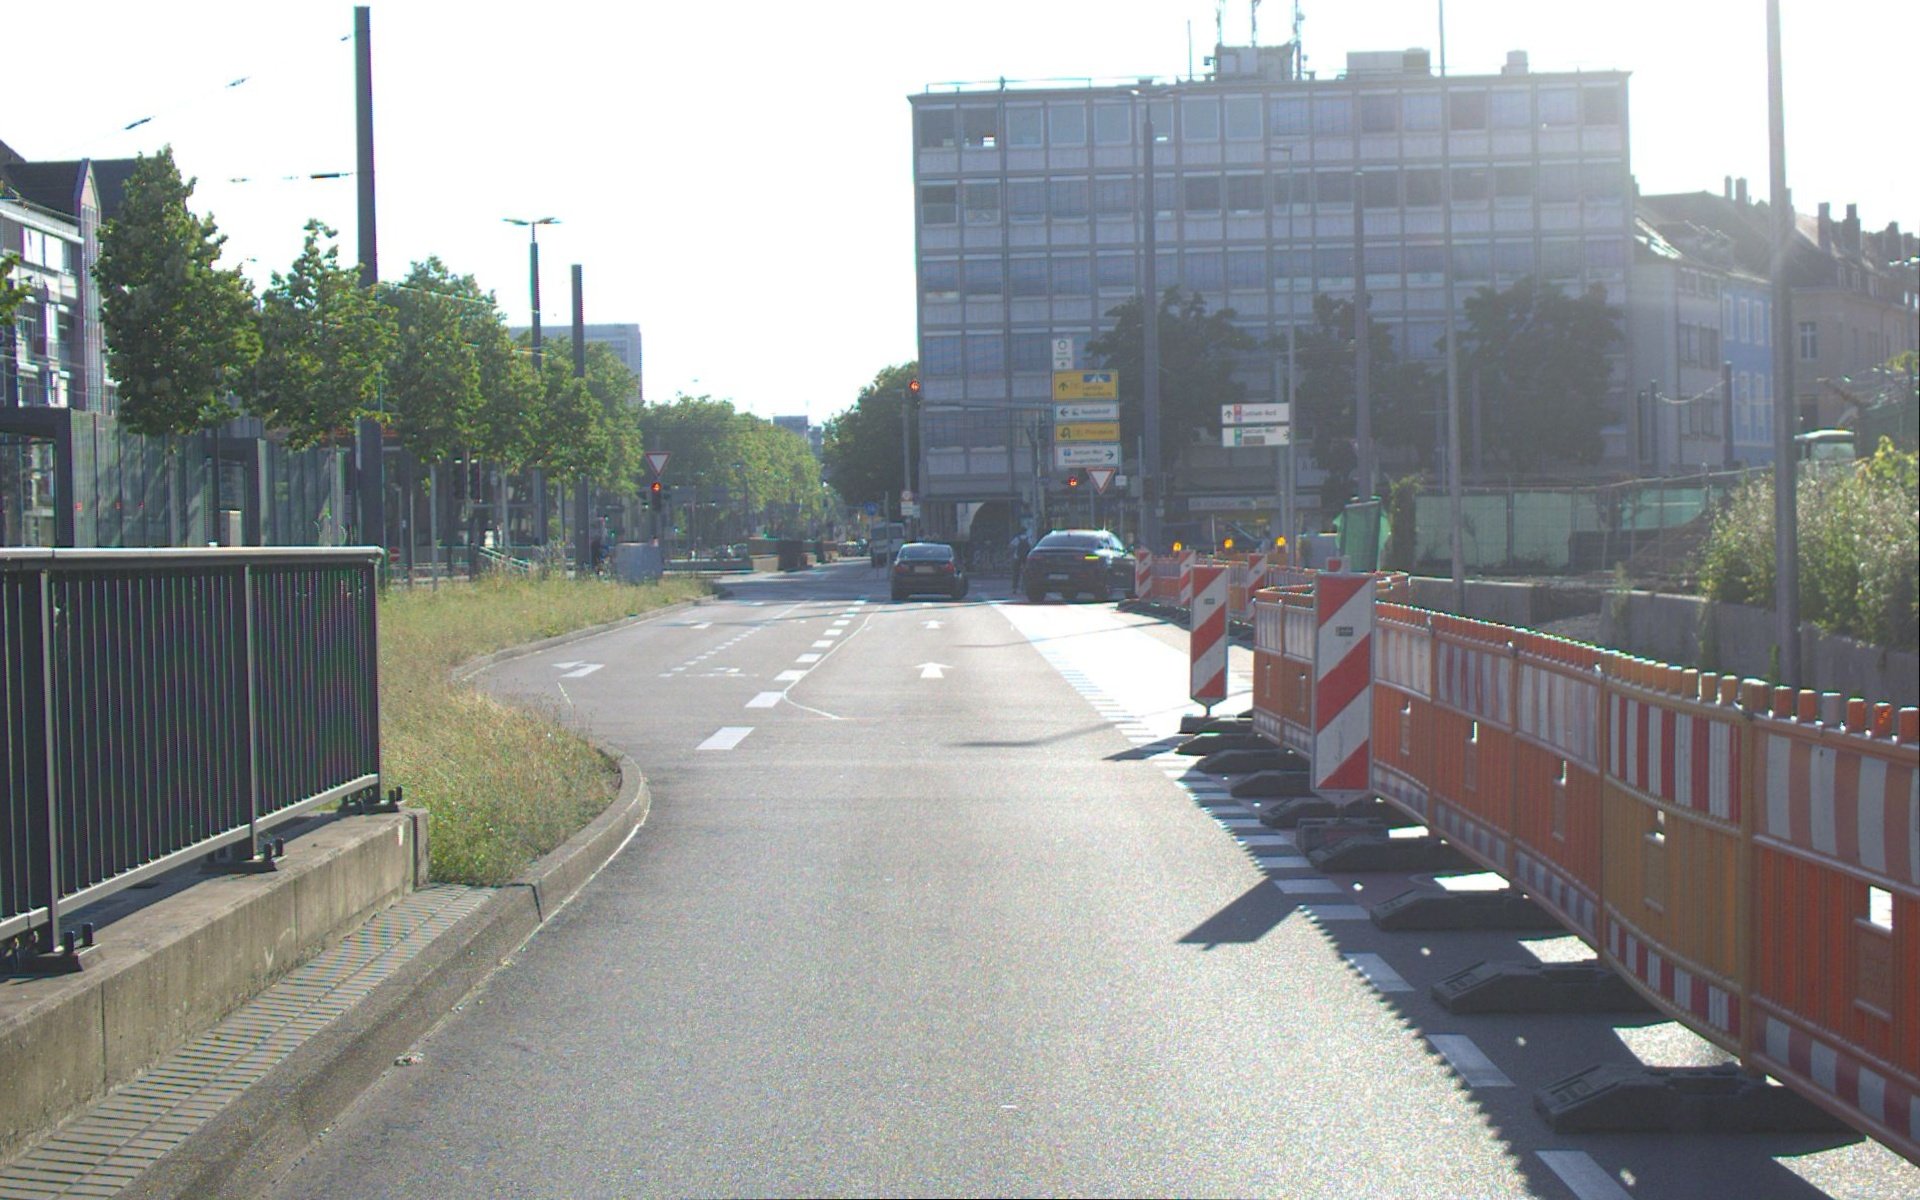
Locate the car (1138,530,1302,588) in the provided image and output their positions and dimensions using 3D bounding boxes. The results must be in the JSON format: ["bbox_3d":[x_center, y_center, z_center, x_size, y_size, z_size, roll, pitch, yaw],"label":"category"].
[{"bbox_3d":[8.003,-1.258,105.643,4.820,1.744,1.999,0,1,11],"label":"car"}]

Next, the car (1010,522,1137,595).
[{"bbox_3d":[2.817,-1.039,84.155,1.995,1.687,3.996,1,2,19],"label":"car"}]

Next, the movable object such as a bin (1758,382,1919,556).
[{"bbox_3d":[20.165,-2.758,72.324,6.069,3.545,2.858,-1,1,25],"label":"movable object such as a bin"}]

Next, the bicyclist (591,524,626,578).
[{"bbox_3d":[-10.820,-1.511,105.725,0.959,1.656,0.691,-1,1,3],"label":"bicyclist"}]

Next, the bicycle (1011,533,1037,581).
[{"bbox_3d":[1.706,-1.155,92.371,0.644,1.219,2.048,1,3,0],"label":"bicycle"}]

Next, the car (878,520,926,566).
[{"bbox_3d":[-3.214,-3.147,190.171,2.486,2.384,5.935,-3,1,-1],"label":"car"}]

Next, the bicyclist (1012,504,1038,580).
[{"bbox_3d":[1.737,-1.558,92.444,0.643,2.006,1.067,1,3,0],"label":"bicyclist"}]

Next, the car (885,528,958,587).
[{"bbox_3d":[-0.975,-1.064,85.854,1.743,1.421,4.000,-1,1,-2],"label":"car"}]

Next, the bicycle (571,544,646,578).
[{"bbox_3d":[-10.811,-1.203,105.729,2.226,1.023,0.682,-1,1,3],"label":"bicycle"}]
